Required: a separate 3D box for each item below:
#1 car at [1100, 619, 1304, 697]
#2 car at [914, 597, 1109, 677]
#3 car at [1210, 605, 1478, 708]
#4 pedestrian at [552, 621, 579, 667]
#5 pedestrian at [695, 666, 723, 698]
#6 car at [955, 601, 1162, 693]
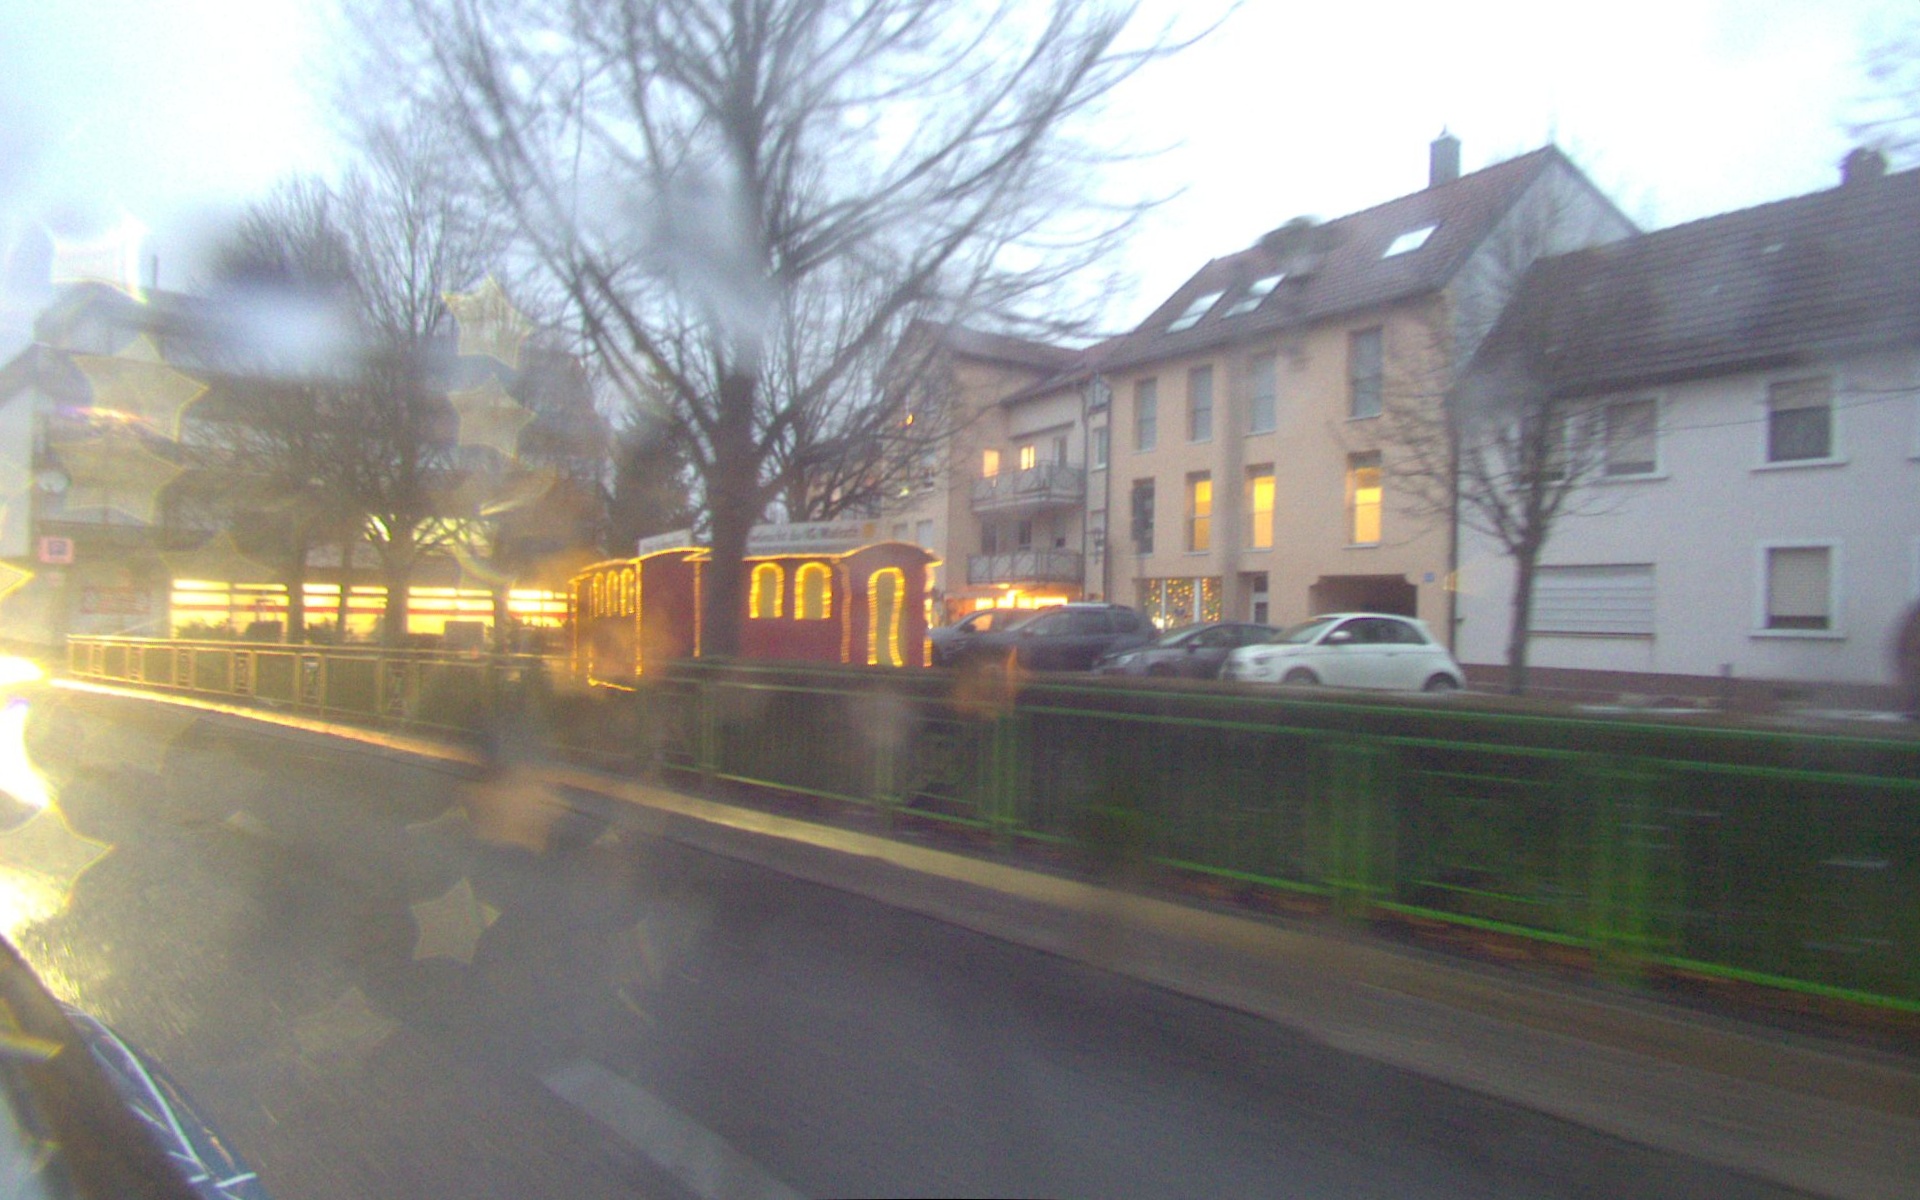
[{"bbox_3d":[4.118,0.959,17.433,3.005,1.229,1.614,0,-1,-12],"label":"car"},{"bbox_3d":[1.096,0.814,22.104,3.932,1.645,1.639,1,-2,-14],"label":"car"},{"bbox_3d":[5.766,0.812,15.371,3.429,1.420,1.614,0,-1,-10],"label":"car"},{"bbox_3d":[-11.824,1.309,30.350,0.611,1.349,0.568,0,-2,-38],"label":"pedestrian"},{"bbox_3d":[-4.052,1.316,16.346,0.361,0.488,0.291,-1,-3,45],"label":"pedestrian"},{"bbox_3d":[1.832,0.853,19.259,3.575,1.624,1.614,0,-1,-12],"label":"car"}]
